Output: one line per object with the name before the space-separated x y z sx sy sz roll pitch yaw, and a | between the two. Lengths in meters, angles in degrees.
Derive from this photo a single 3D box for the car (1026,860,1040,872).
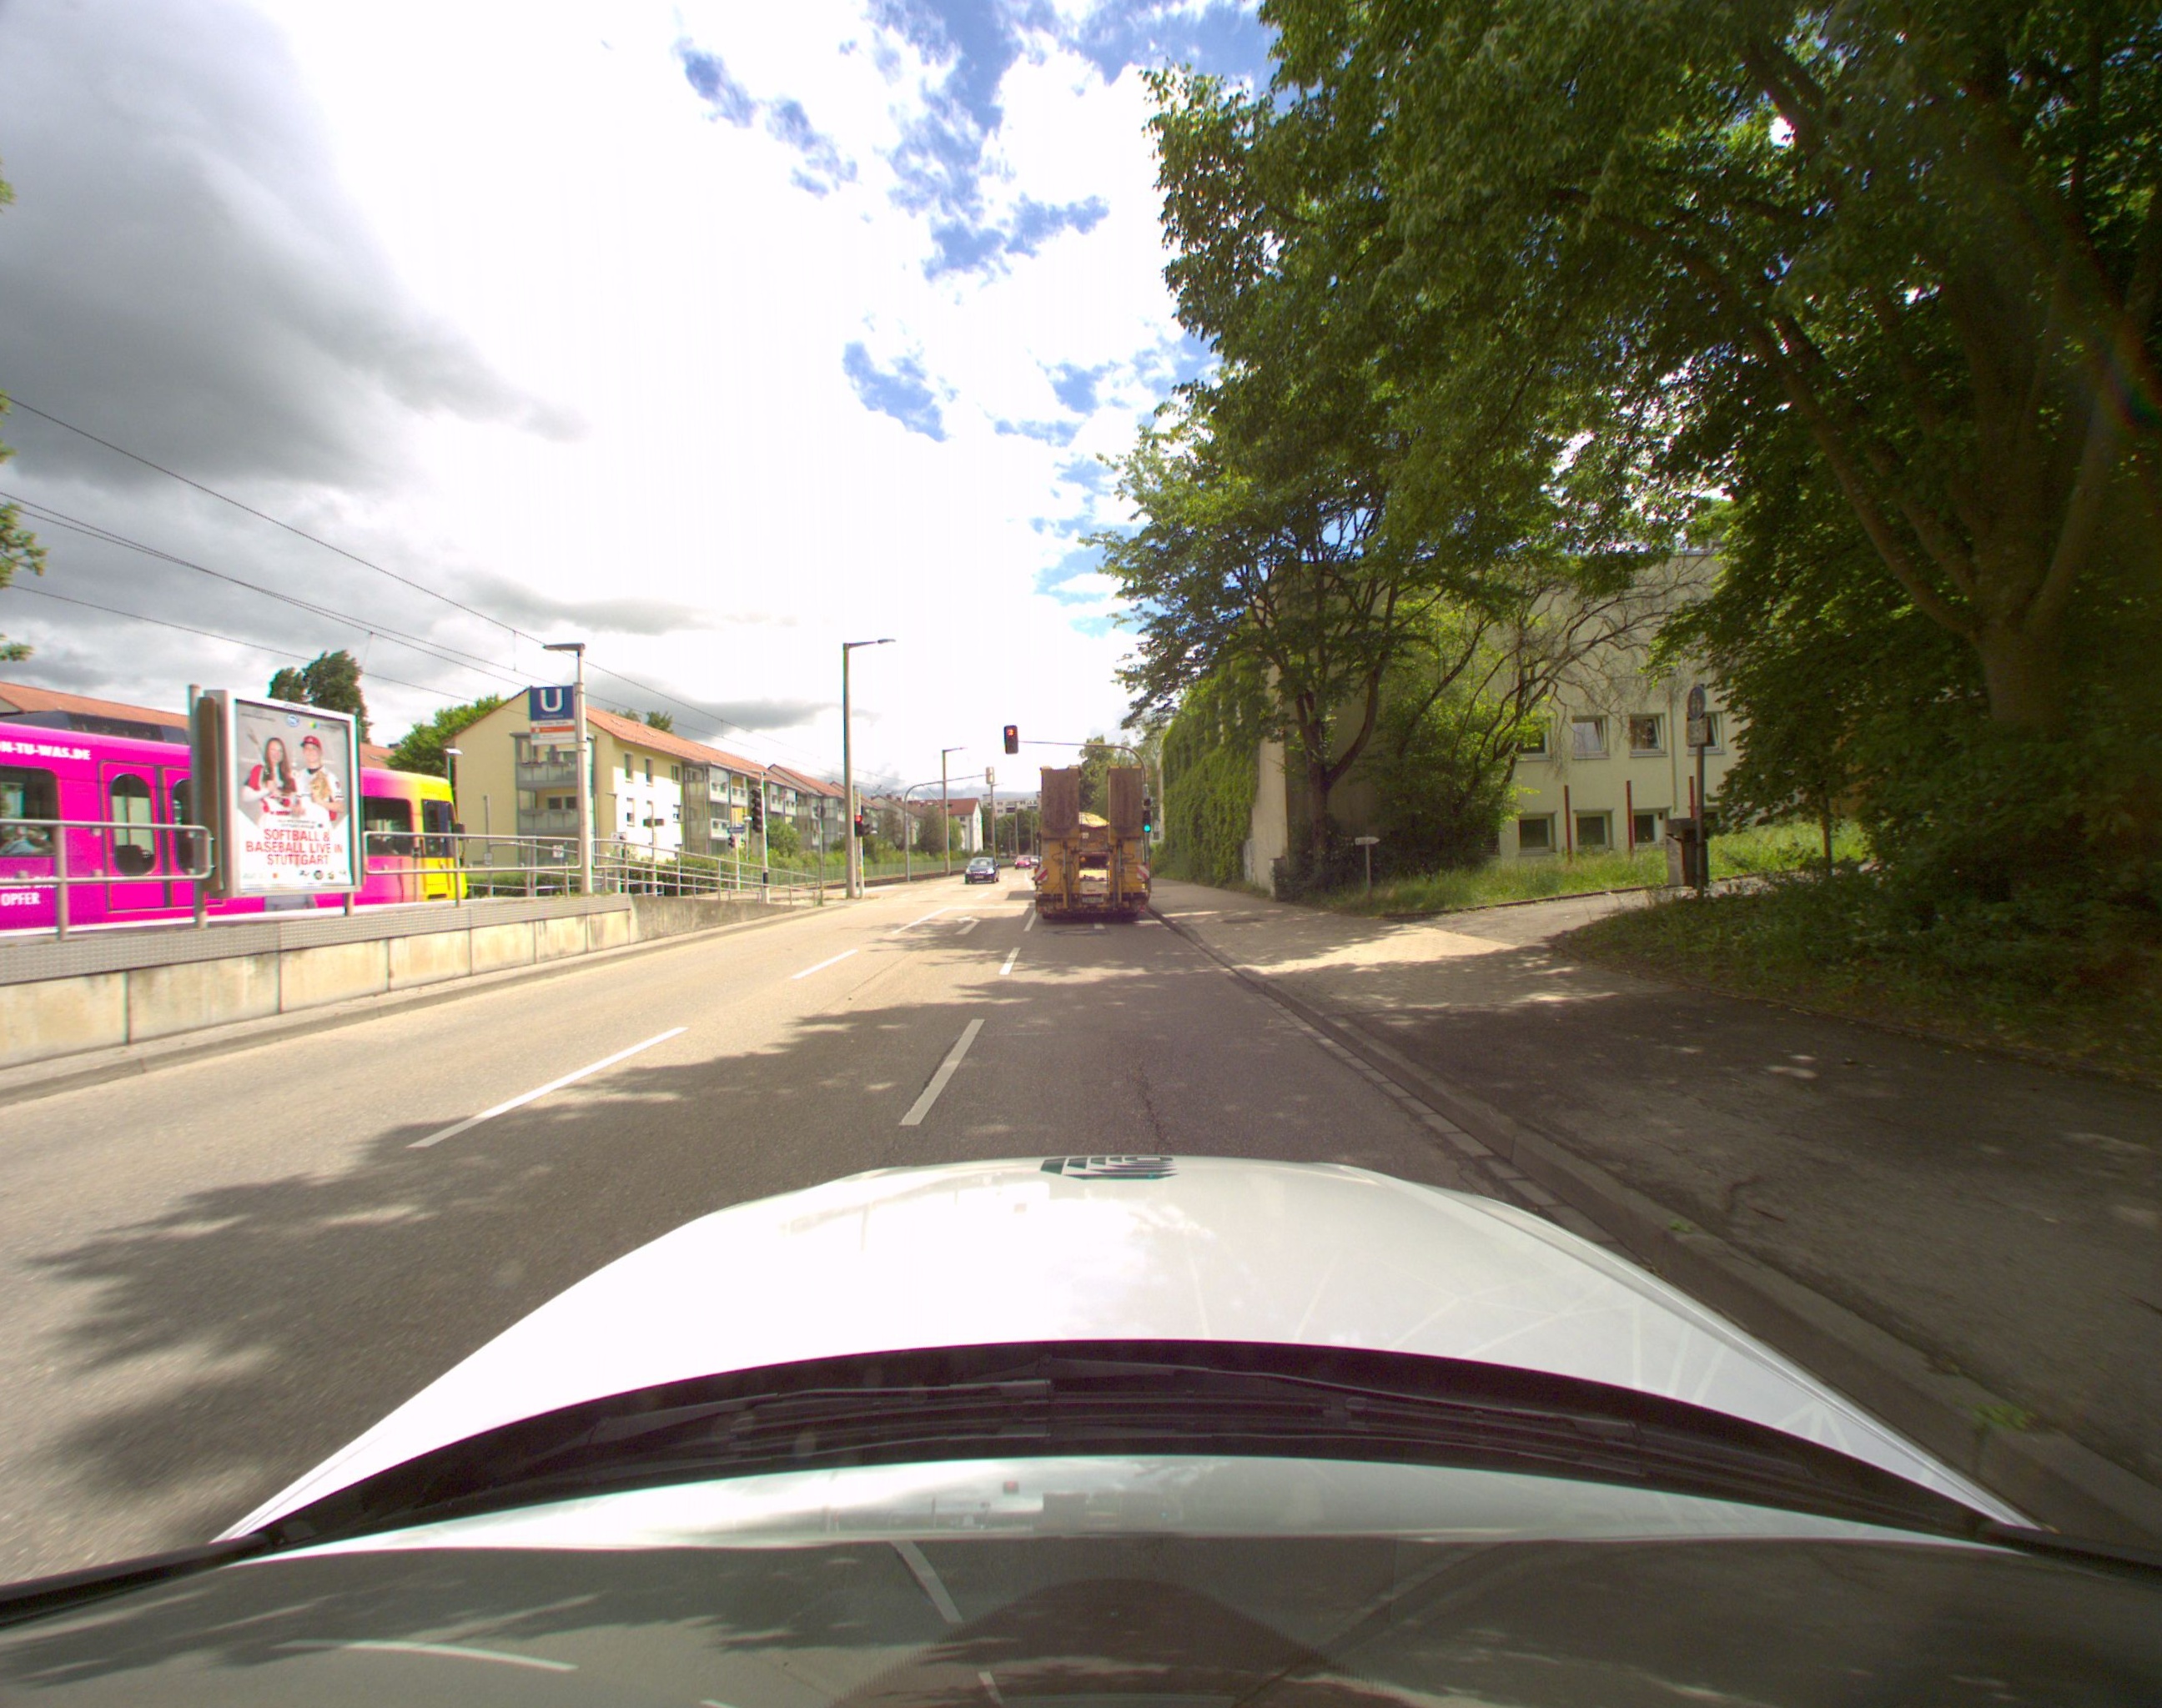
car | -6.439 1.594 109.273 1.756 1.552 3.995 -1 0 -3

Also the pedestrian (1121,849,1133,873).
pedestrian | 3.333 0.522 59.192 0.805 1.771 0.817 0 -1 5

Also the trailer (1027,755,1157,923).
trailer | -0.021 -0.290 23.985 2.820 3.646 12.341 0 0 -2

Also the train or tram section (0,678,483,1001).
train or tram section | -14.375 -0.172 8.410 2.972 3.863 18.529 0 0 -1

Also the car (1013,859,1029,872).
car | -6.875 1.315 93.863 1.659 1.552 3.997 0 -1 -2

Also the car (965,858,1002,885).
car | -5.613 0.974 47.078 1.713 1.441 4.006 -1 -1 -2
